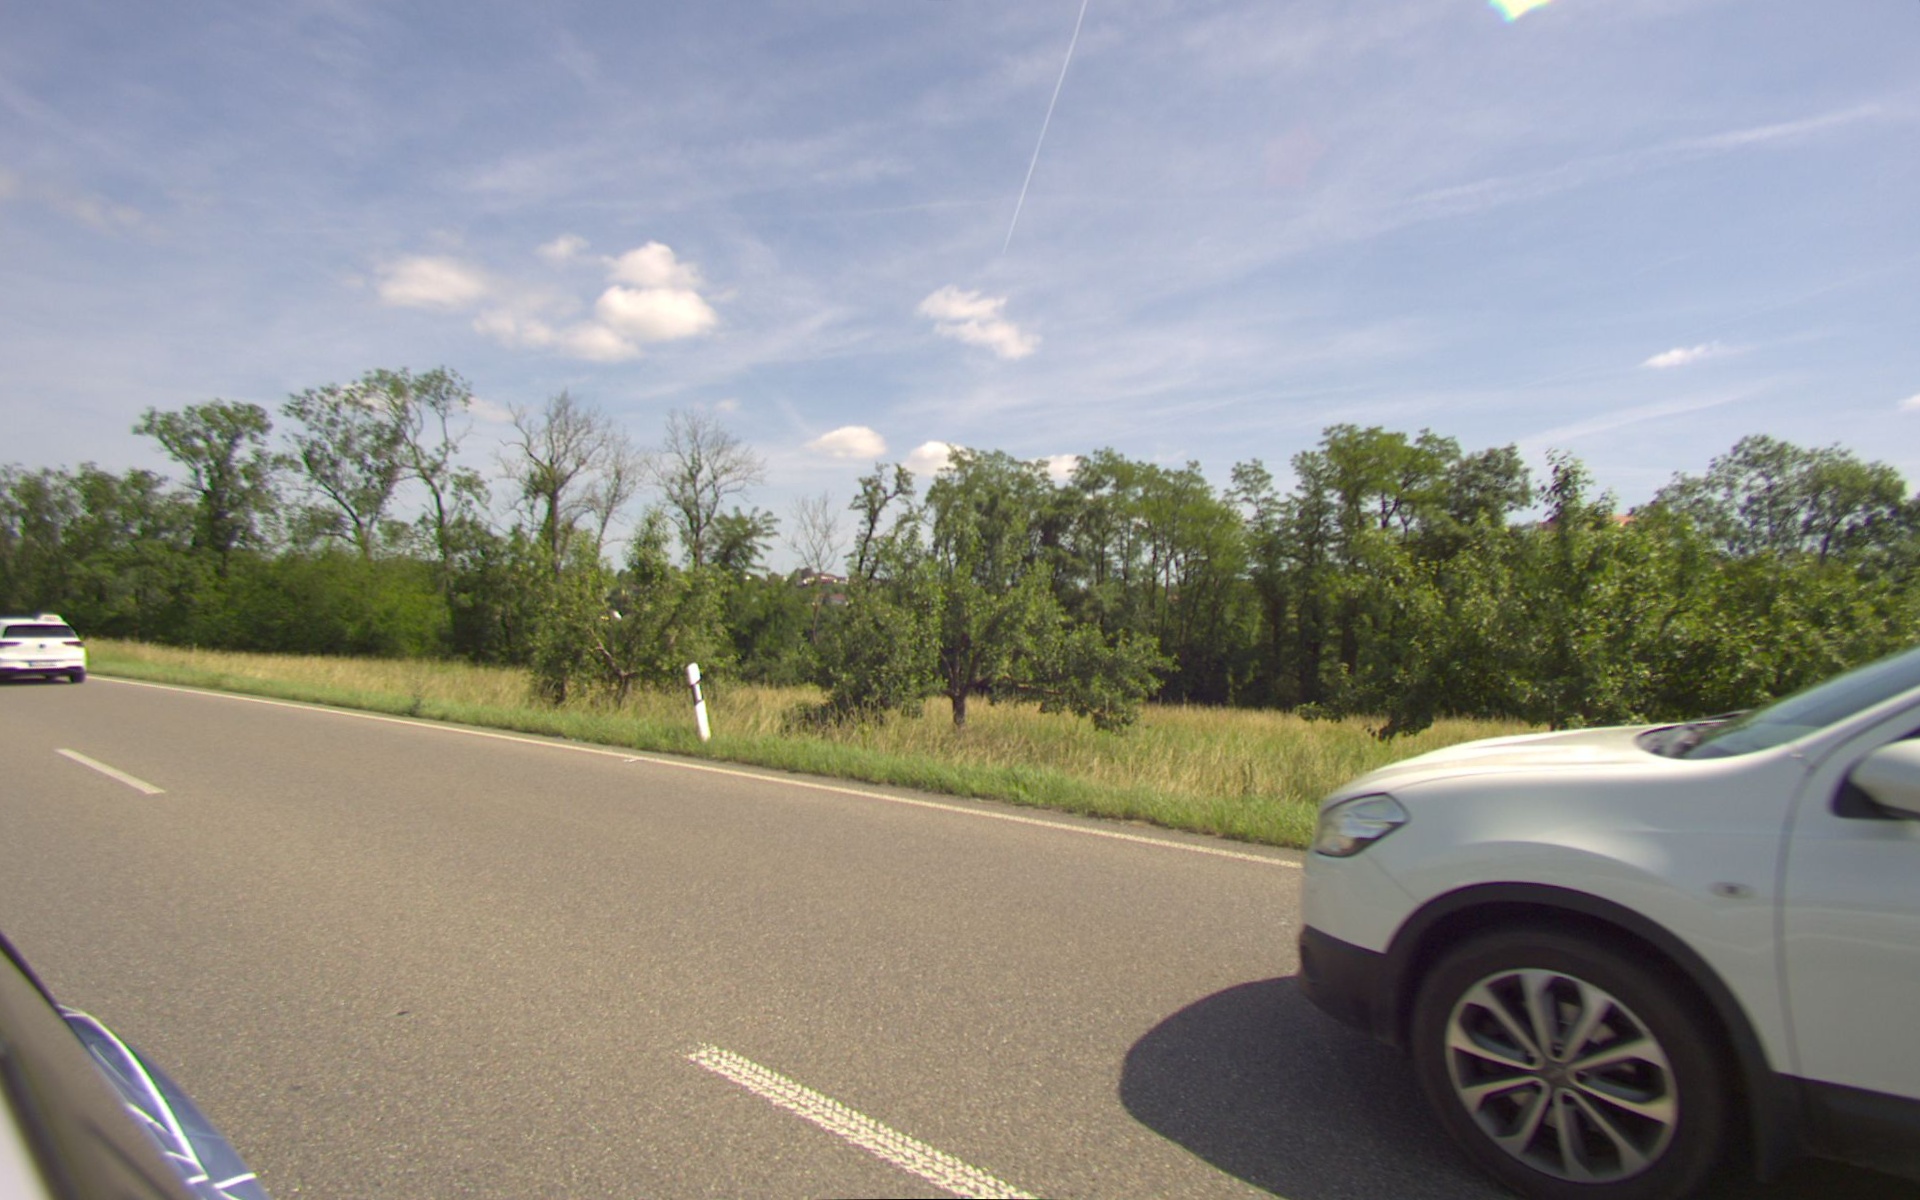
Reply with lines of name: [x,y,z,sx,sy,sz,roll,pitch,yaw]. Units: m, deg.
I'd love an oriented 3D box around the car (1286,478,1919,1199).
car: [3.143,0.573,2.052,4.360,1.629,1.814,-2,-3,41]

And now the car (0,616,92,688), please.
car: [-21.603,1.148,23.180,4.153,1.533,1.774,-1,-2,37]
